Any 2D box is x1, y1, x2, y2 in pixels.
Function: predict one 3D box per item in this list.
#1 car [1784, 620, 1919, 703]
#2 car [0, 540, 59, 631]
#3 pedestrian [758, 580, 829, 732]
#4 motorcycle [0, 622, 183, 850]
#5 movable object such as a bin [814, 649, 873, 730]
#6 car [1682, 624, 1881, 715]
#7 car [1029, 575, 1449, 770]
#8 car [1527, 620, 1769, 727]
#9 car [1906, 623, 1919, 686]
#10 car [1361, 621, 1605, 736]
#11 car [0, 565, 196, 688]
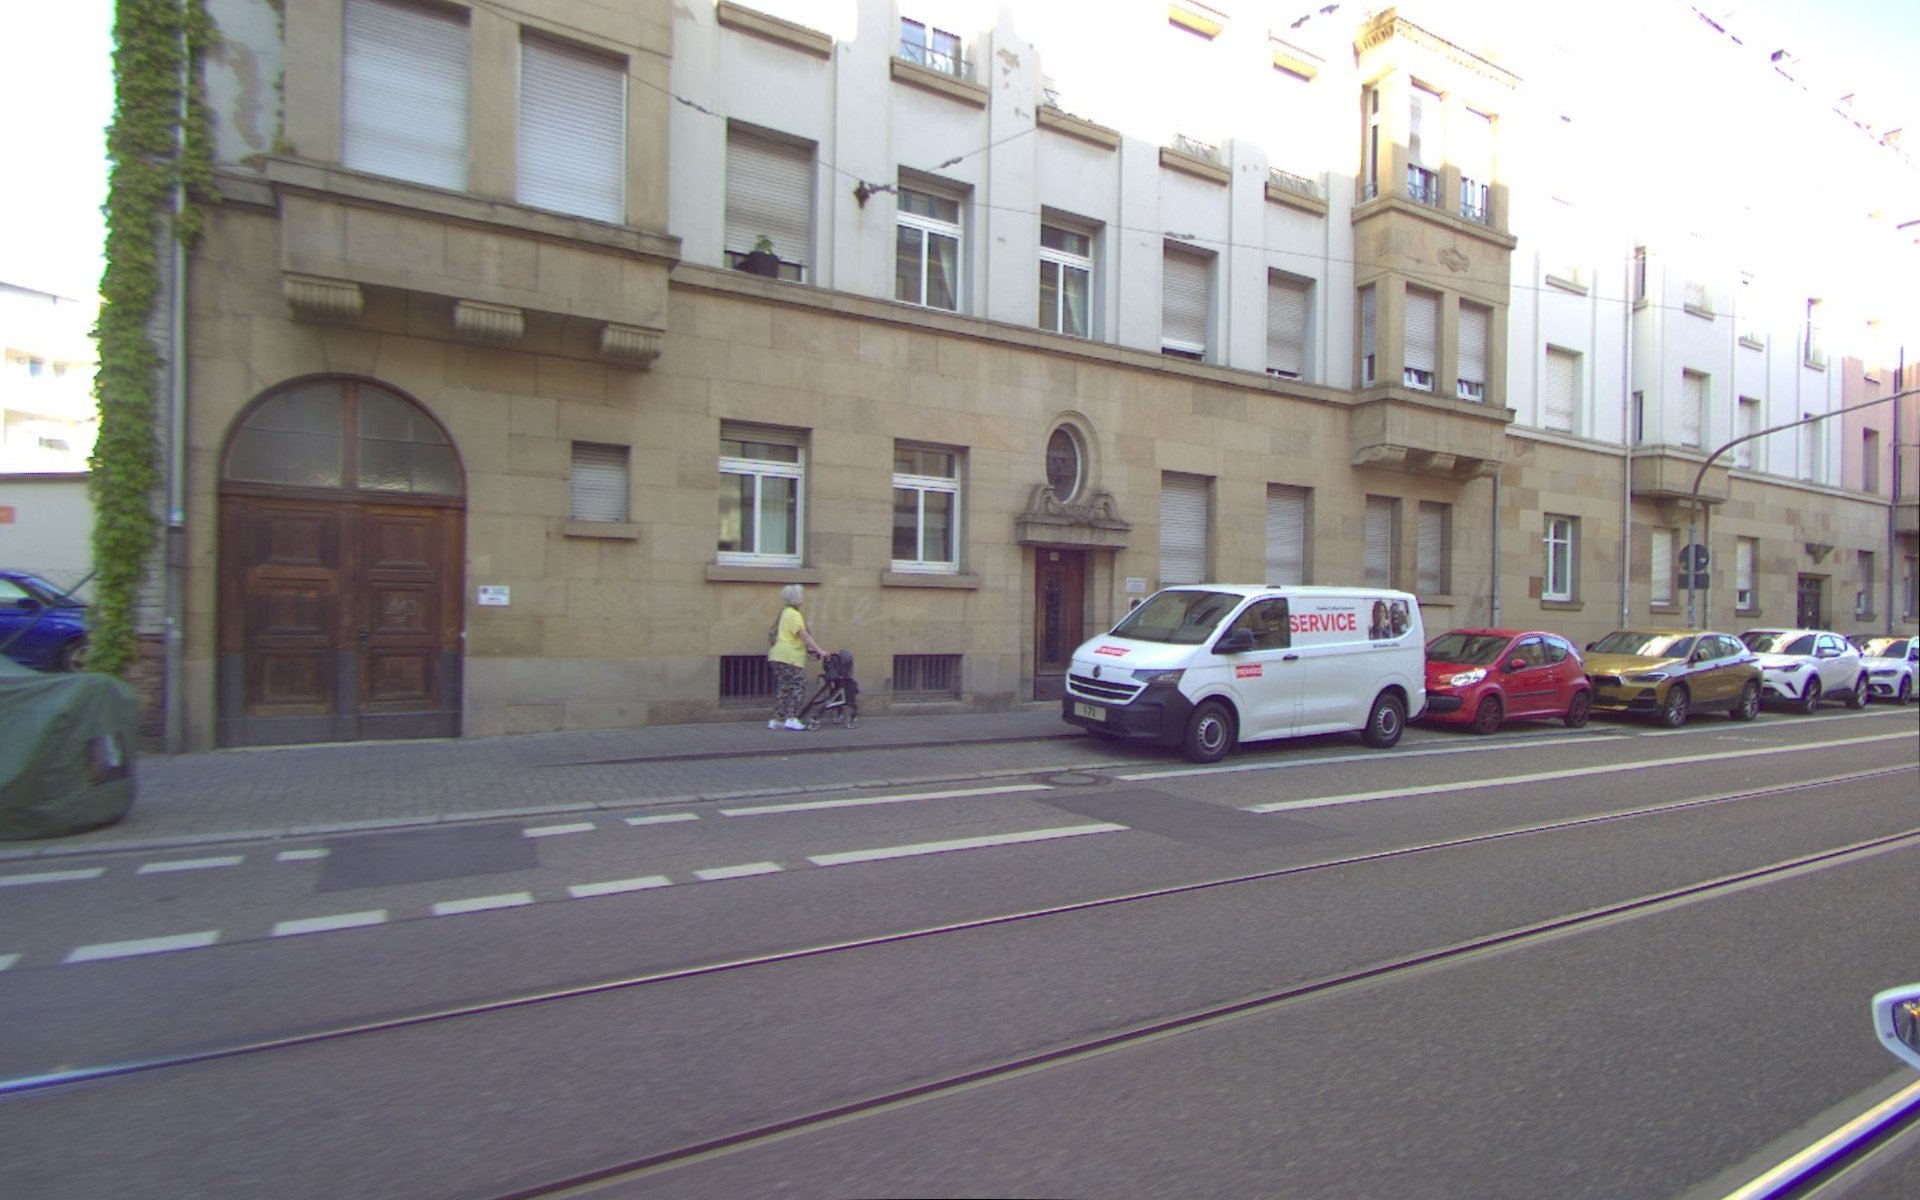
[{"bbox_3d":[20.537,1.335,22.664,4.133,1.643,1.773,1,1,-32],"label":"car"},{"bbox_3d":[-20.441,-0.323,19.585,3.952,1.773,1.788,1,0,-30],"label":"car"},{"bbox_3d":[-1.993,0.644,11.981,0.609,1.747,0.676,1,0,-30],"label":"pedestrian"},{"bbox_3d":[-6.503,0.850,6.719,1.918,1.369,0.886,1,0,2],"label":"motorcycle"},{"bbox_3d":[-1.417,1.071,12.174,0.512,0.912,0.610,1,0,-30],"label":"movable object such as a bin"},{"bbox_3d":[16.405,1.314,20.016,4.318,1.568,1.762,1,1,-32],"label":"car"},{"bbox_3d":[3.561,0.773,12.439,5.192,1.975,1.962,1,1,-31],"label":"car"},{"bbox_3d":[11.788,1.181,17.142,4.310,1.544,1.774,1,1,-31],"label":"car"},{"bbox_3d":[25.780,1.434,25.478,2.984,1.573,1.774,1,1,-30],"label":"car"},{"bbox_3d":[7.975,1.117,15.264,3.603,1.492,1.595,1,1,-30],"label":"car"},{"bbox_3d":[-12.694,0.326,13.301,3.862,1.546,1.744,1,0,-30],"label":"car"}]
